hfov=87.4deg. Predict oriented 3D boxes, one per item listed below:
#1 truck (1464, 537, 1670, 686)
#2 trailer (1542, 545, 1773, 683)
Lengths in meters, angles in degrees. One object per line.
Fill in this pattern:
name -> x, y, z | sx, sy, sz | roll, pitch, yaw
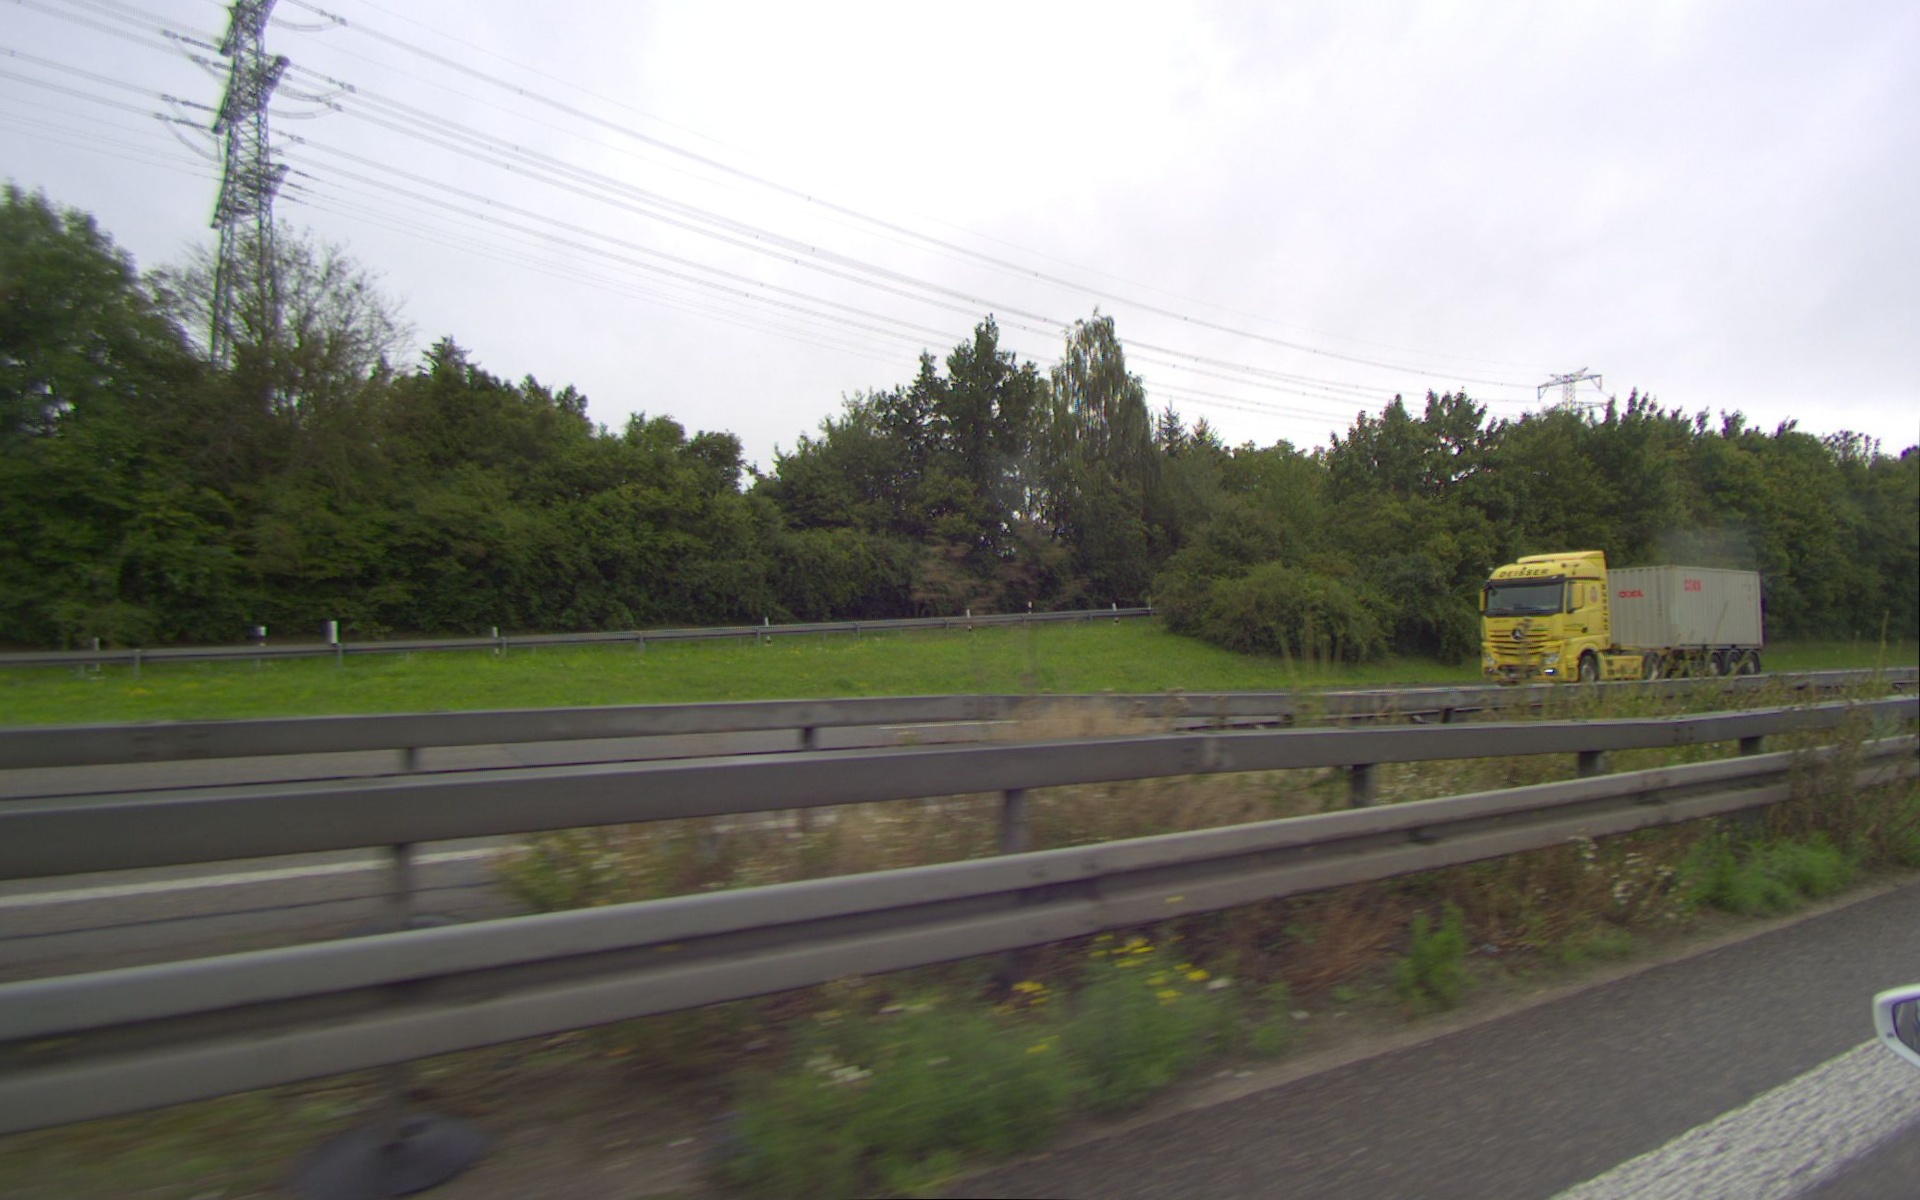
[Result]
truck -> 18.457, 0.428, 30.482 | 6.086, 4.108, 2.749 | 1, -3, -31
trailer -> 23.313, 0.548, 33.409 | 9.094, 4.108, 2.749 | 1, -3, -31
